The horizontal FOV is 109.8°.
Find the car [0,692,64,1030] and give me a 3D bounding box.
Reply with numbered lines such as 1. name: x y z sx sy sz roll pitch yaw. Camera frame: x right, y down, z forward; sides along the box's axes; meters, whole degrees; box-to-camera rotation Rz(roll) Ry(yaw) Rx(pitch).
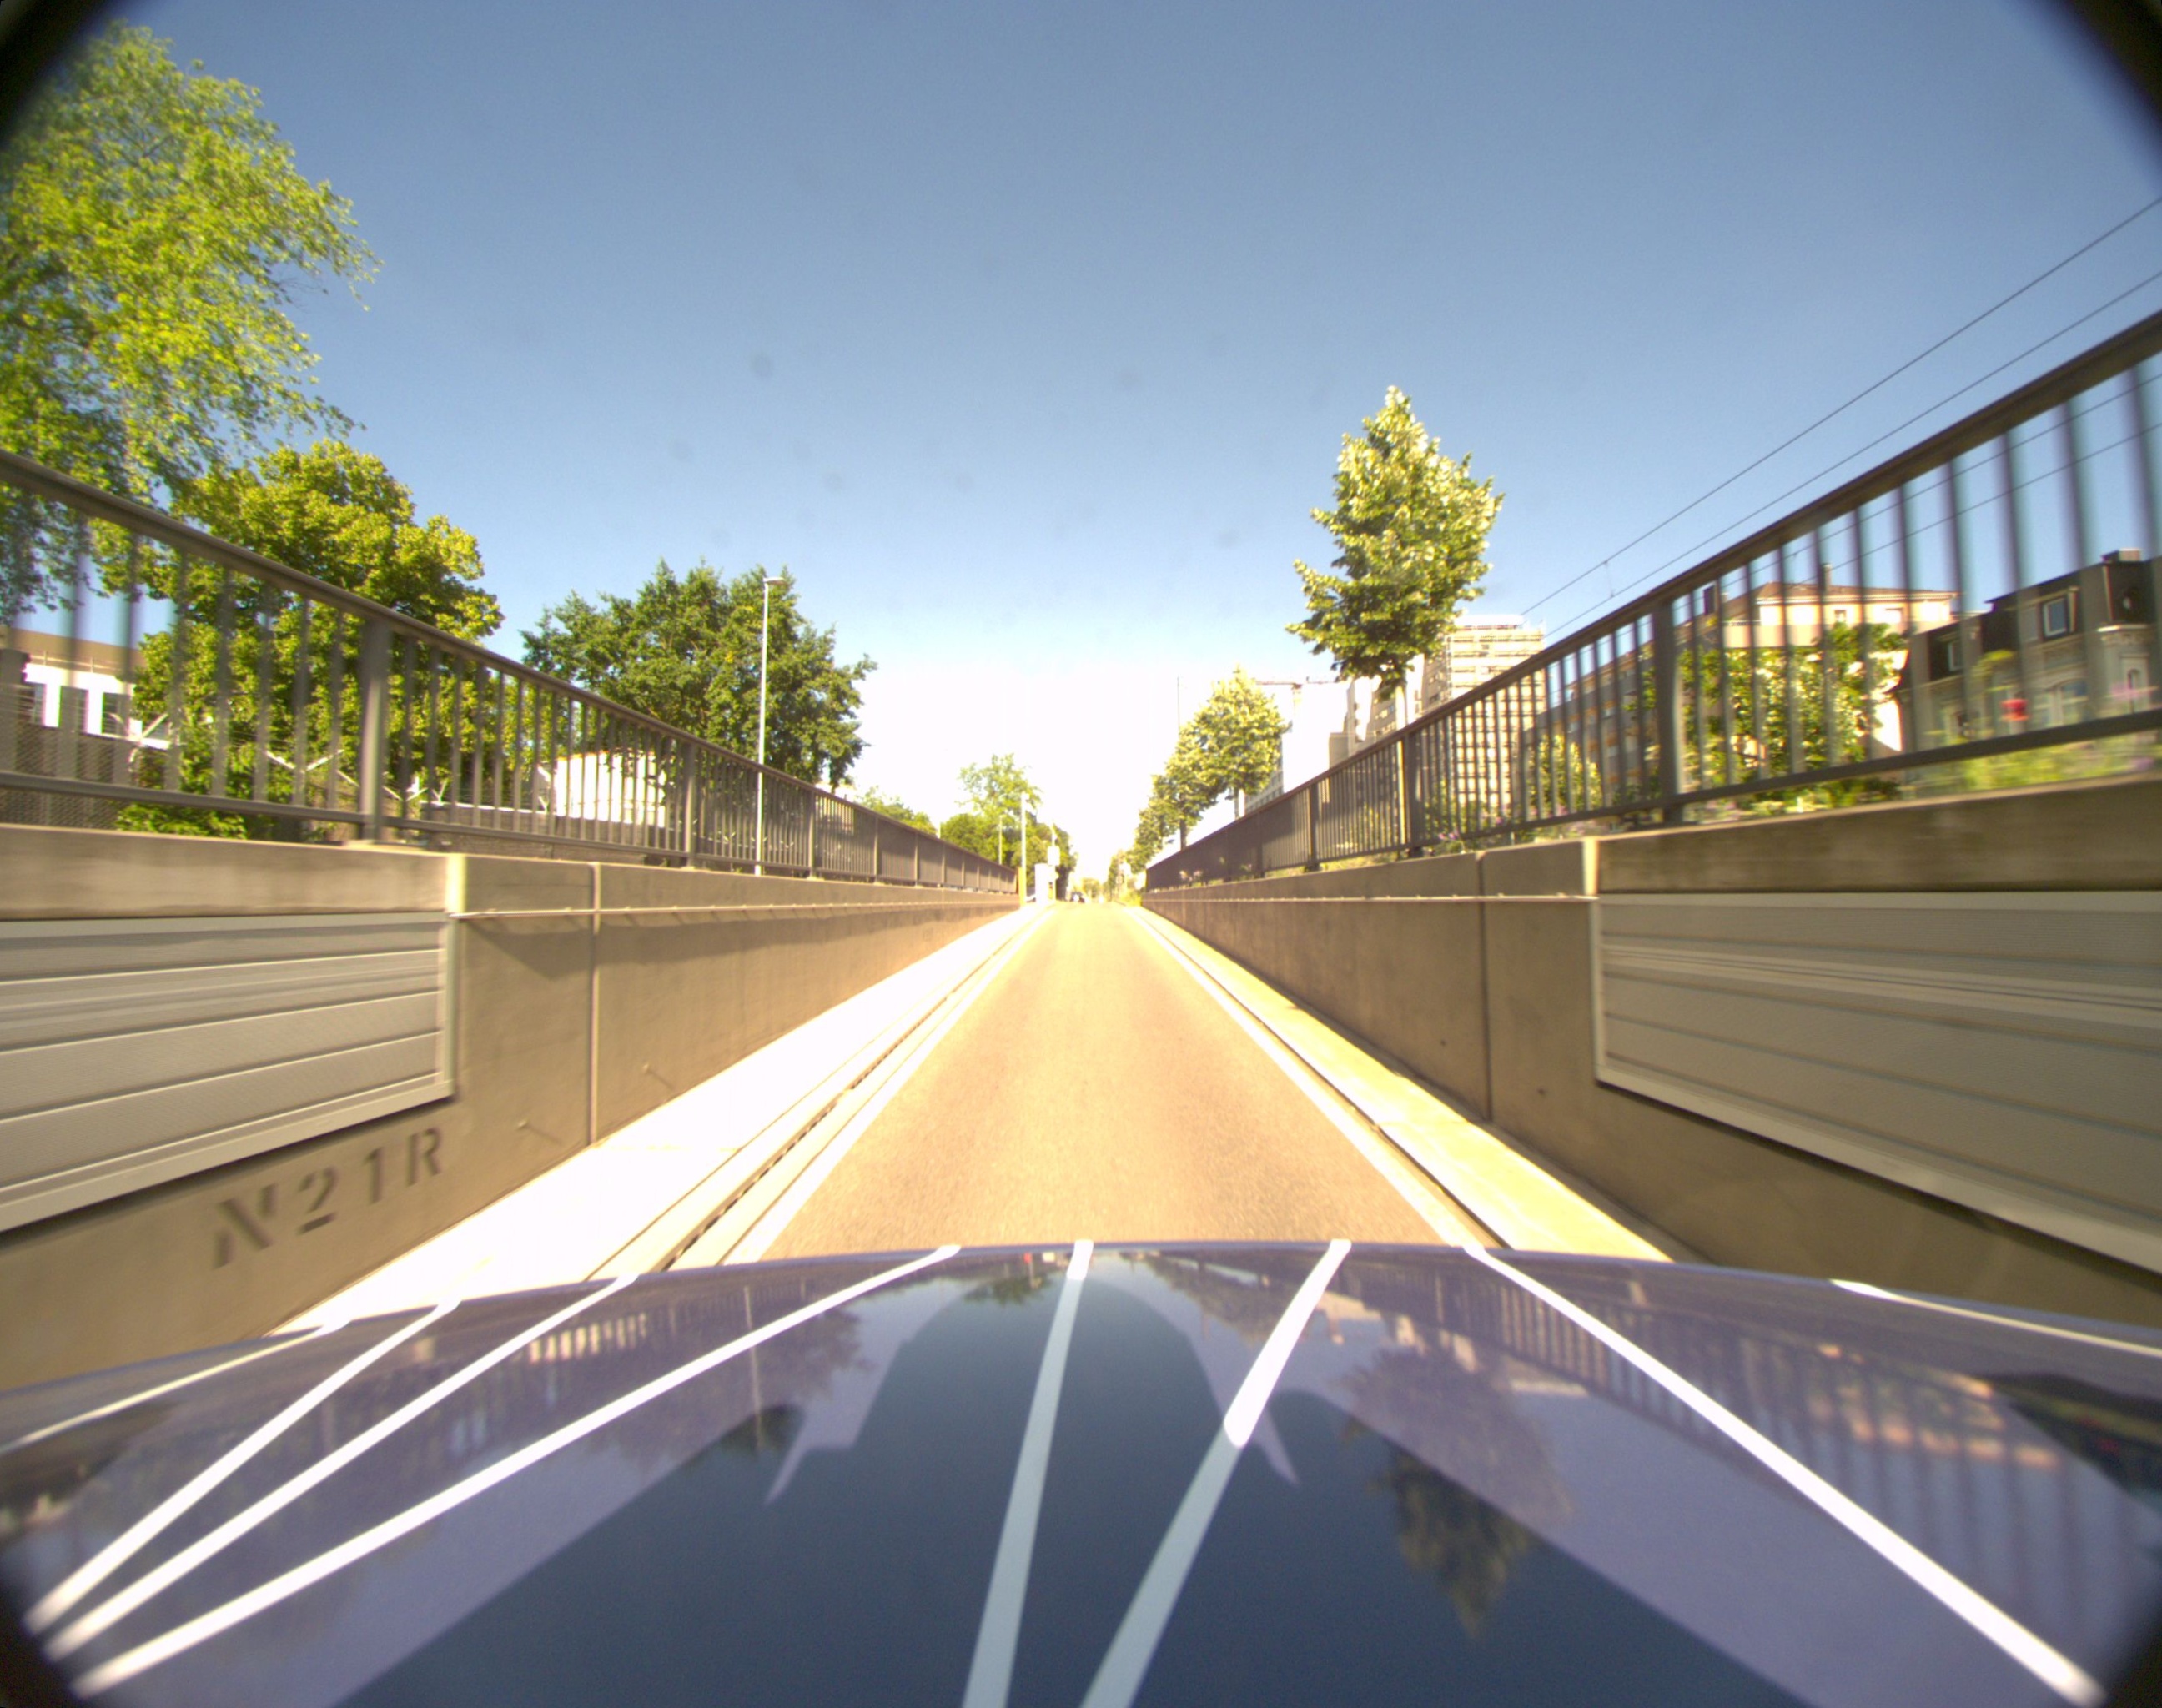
1. car: -5.371 -0.018 1.403 1.671 1.426 3.974 -2 -2 -1

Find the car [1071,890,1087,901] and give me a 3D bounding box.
1. car: -0.203 5.019 91.661 1.829 1.327 4.002 -1 -3 2

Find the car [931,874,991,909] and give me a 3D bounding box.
1. car: -5.202 1.643 33.434 1.838 1.392 4.302 -1 -3 2

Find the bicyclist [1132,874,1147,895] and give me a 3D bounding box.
1. bicyclist: 4.693 2.429 61.064 0.861 1.676 0.818 0 -3 -33

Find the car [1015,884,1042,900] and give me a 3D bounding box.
1. car: -4.413 3.210 64.305 1.829 1.327 4.002 -1 -3 2

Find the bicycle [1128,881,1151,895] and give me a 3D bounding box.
1. bicycle: 4.701 2.732 61.085 0.726 1.049 1.978 -1 -1 -33
